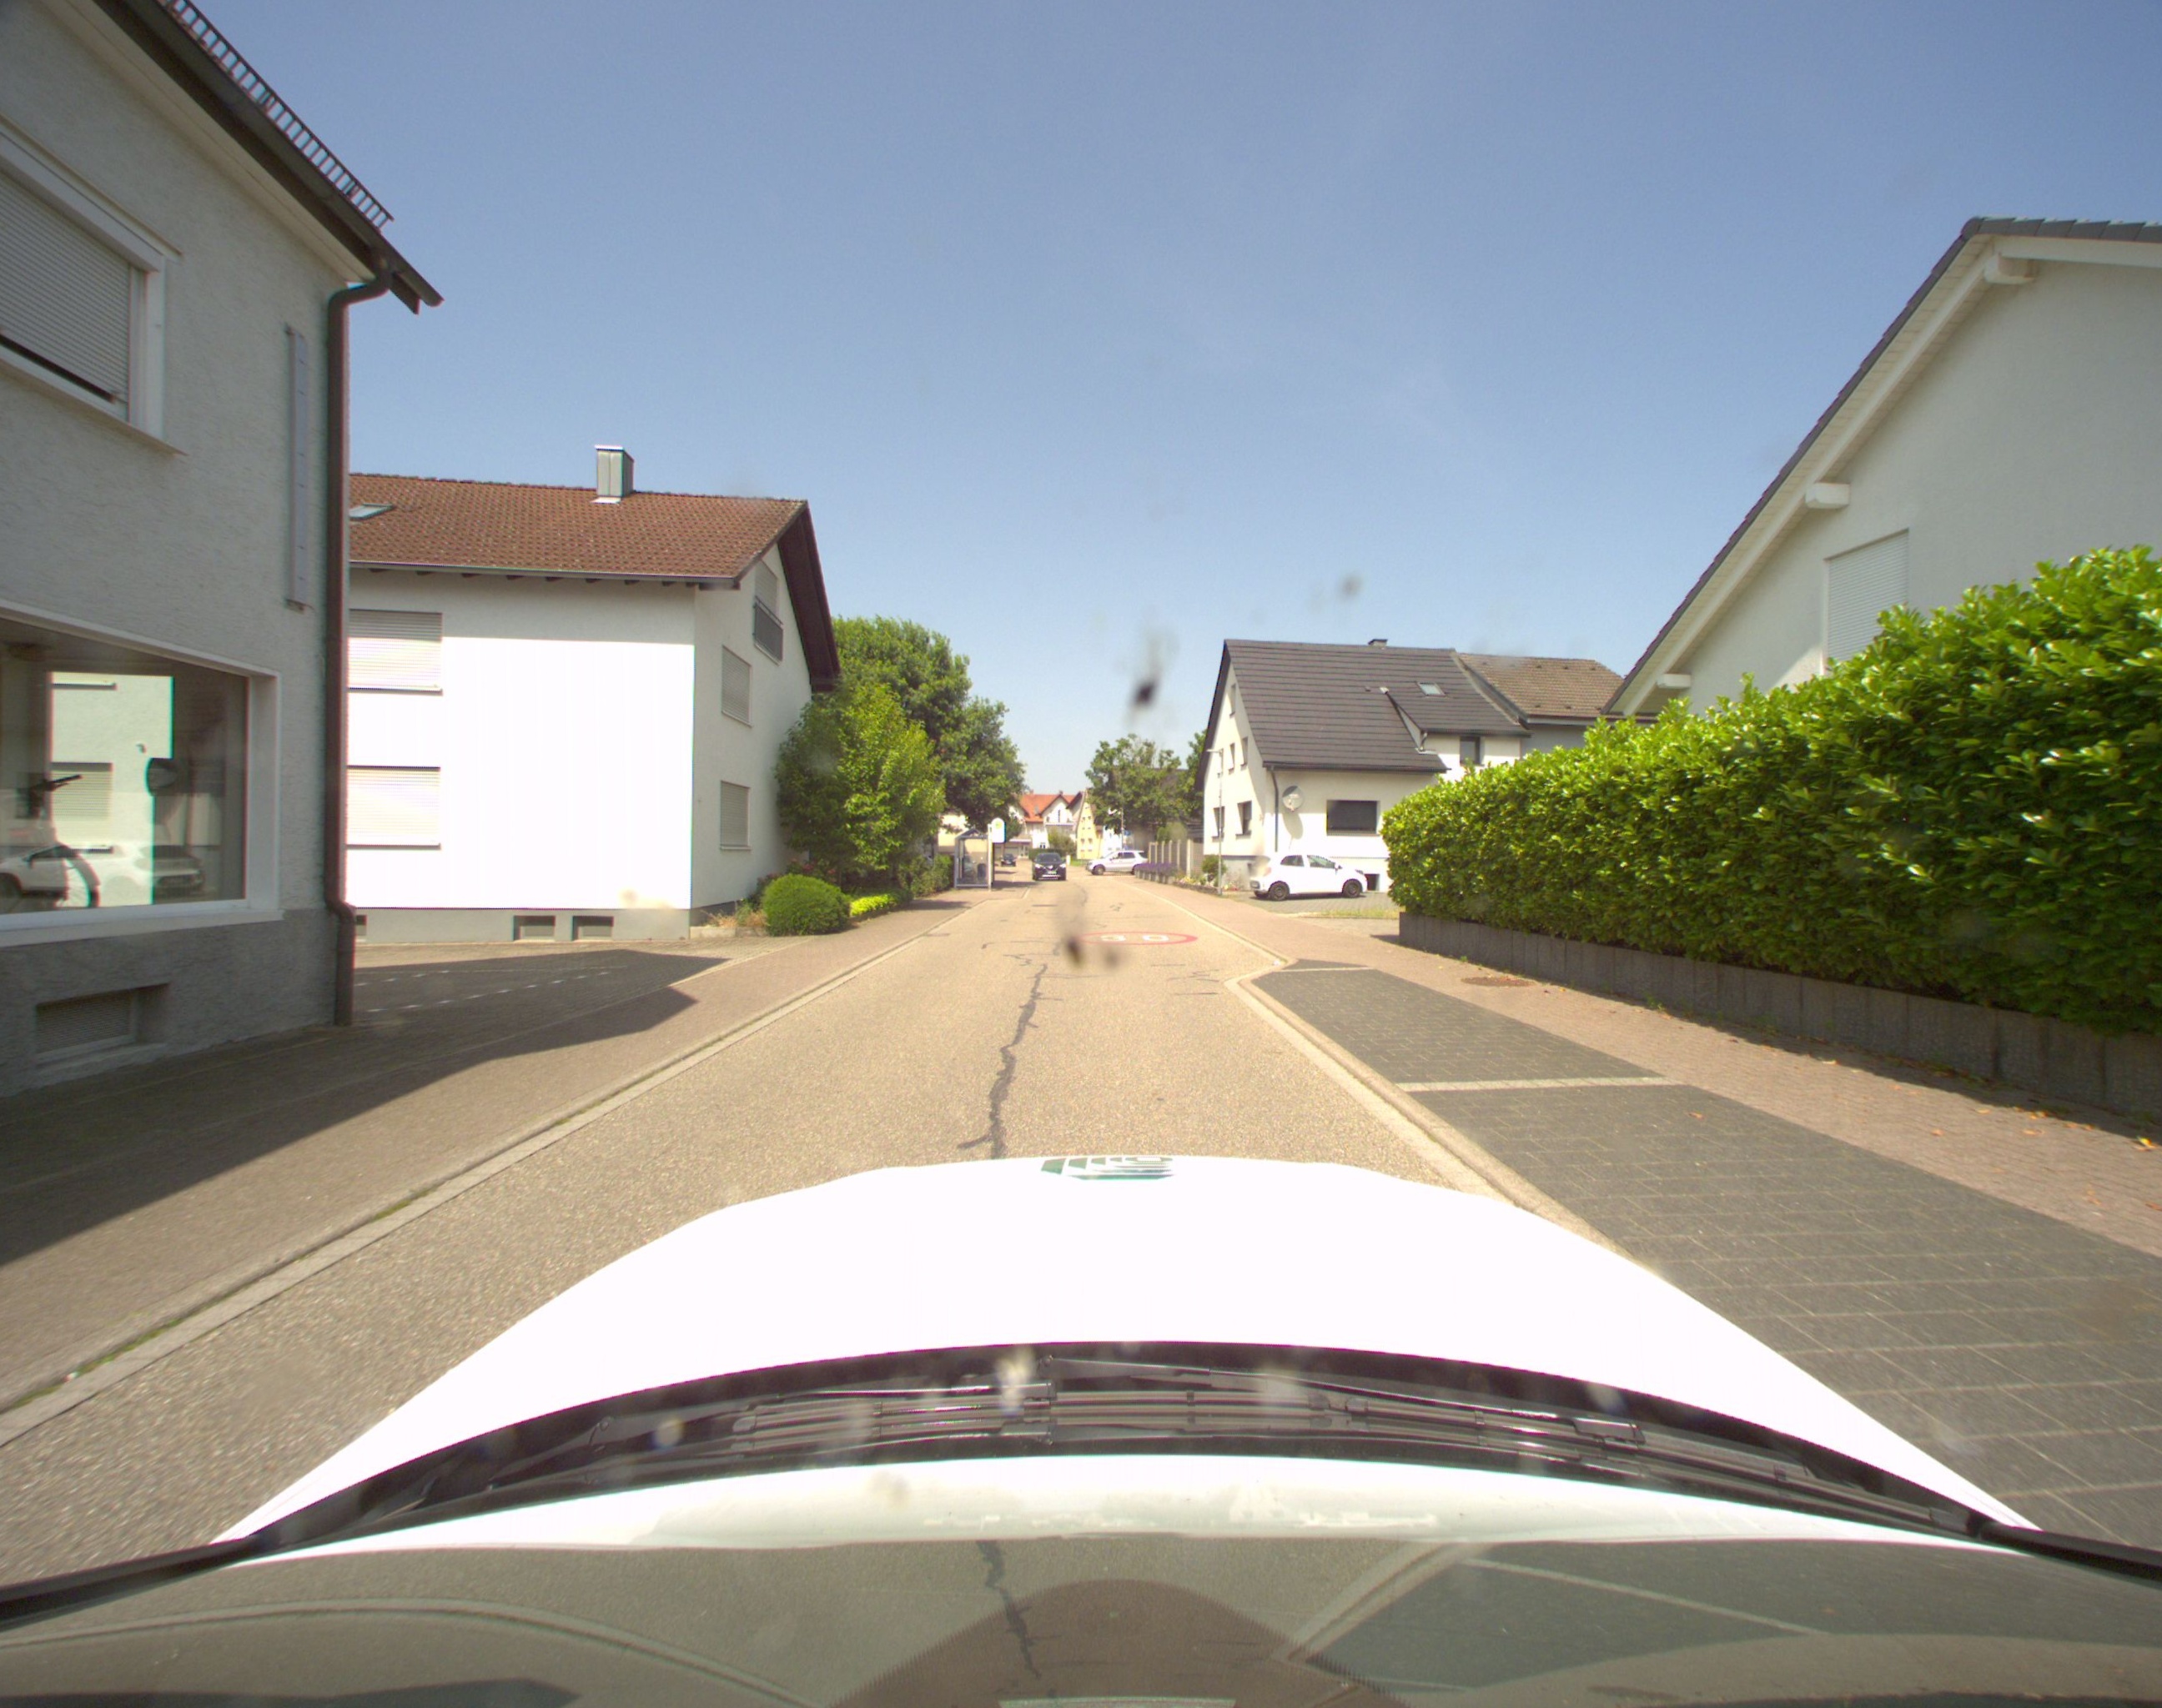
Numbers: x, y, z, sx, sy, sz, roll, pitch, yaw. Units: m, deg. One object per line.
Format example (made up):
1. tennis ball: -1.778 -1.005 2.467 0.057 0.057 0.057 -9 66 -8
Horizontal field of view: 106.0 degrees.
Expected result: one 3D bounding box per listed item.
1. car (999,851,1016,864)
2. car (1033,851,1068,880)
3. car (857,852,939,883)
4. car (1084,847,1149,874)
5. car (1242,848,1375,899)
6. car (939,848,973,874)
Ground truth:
1. car: -8.473 0.353 93.973 1.626 1.486 3.988 -1 0 -9
2. car: -1.828 0.641 47.711 1.774 1.623 4.096 0 0 -6
3. car: -9.910 0.710 44.355 4.153 1.538 1.770 -1 0 -6
4. car: 2.528 0.447 57.913 4.316 1.767 1.886 -1 0 -10
5. car: 7.169 0.579 25.822 3.655 1.474 1.761 -1 1 -8
6. car: -7.431 0.393 48.715 1.776 1.434 4.047 1 0 -6
